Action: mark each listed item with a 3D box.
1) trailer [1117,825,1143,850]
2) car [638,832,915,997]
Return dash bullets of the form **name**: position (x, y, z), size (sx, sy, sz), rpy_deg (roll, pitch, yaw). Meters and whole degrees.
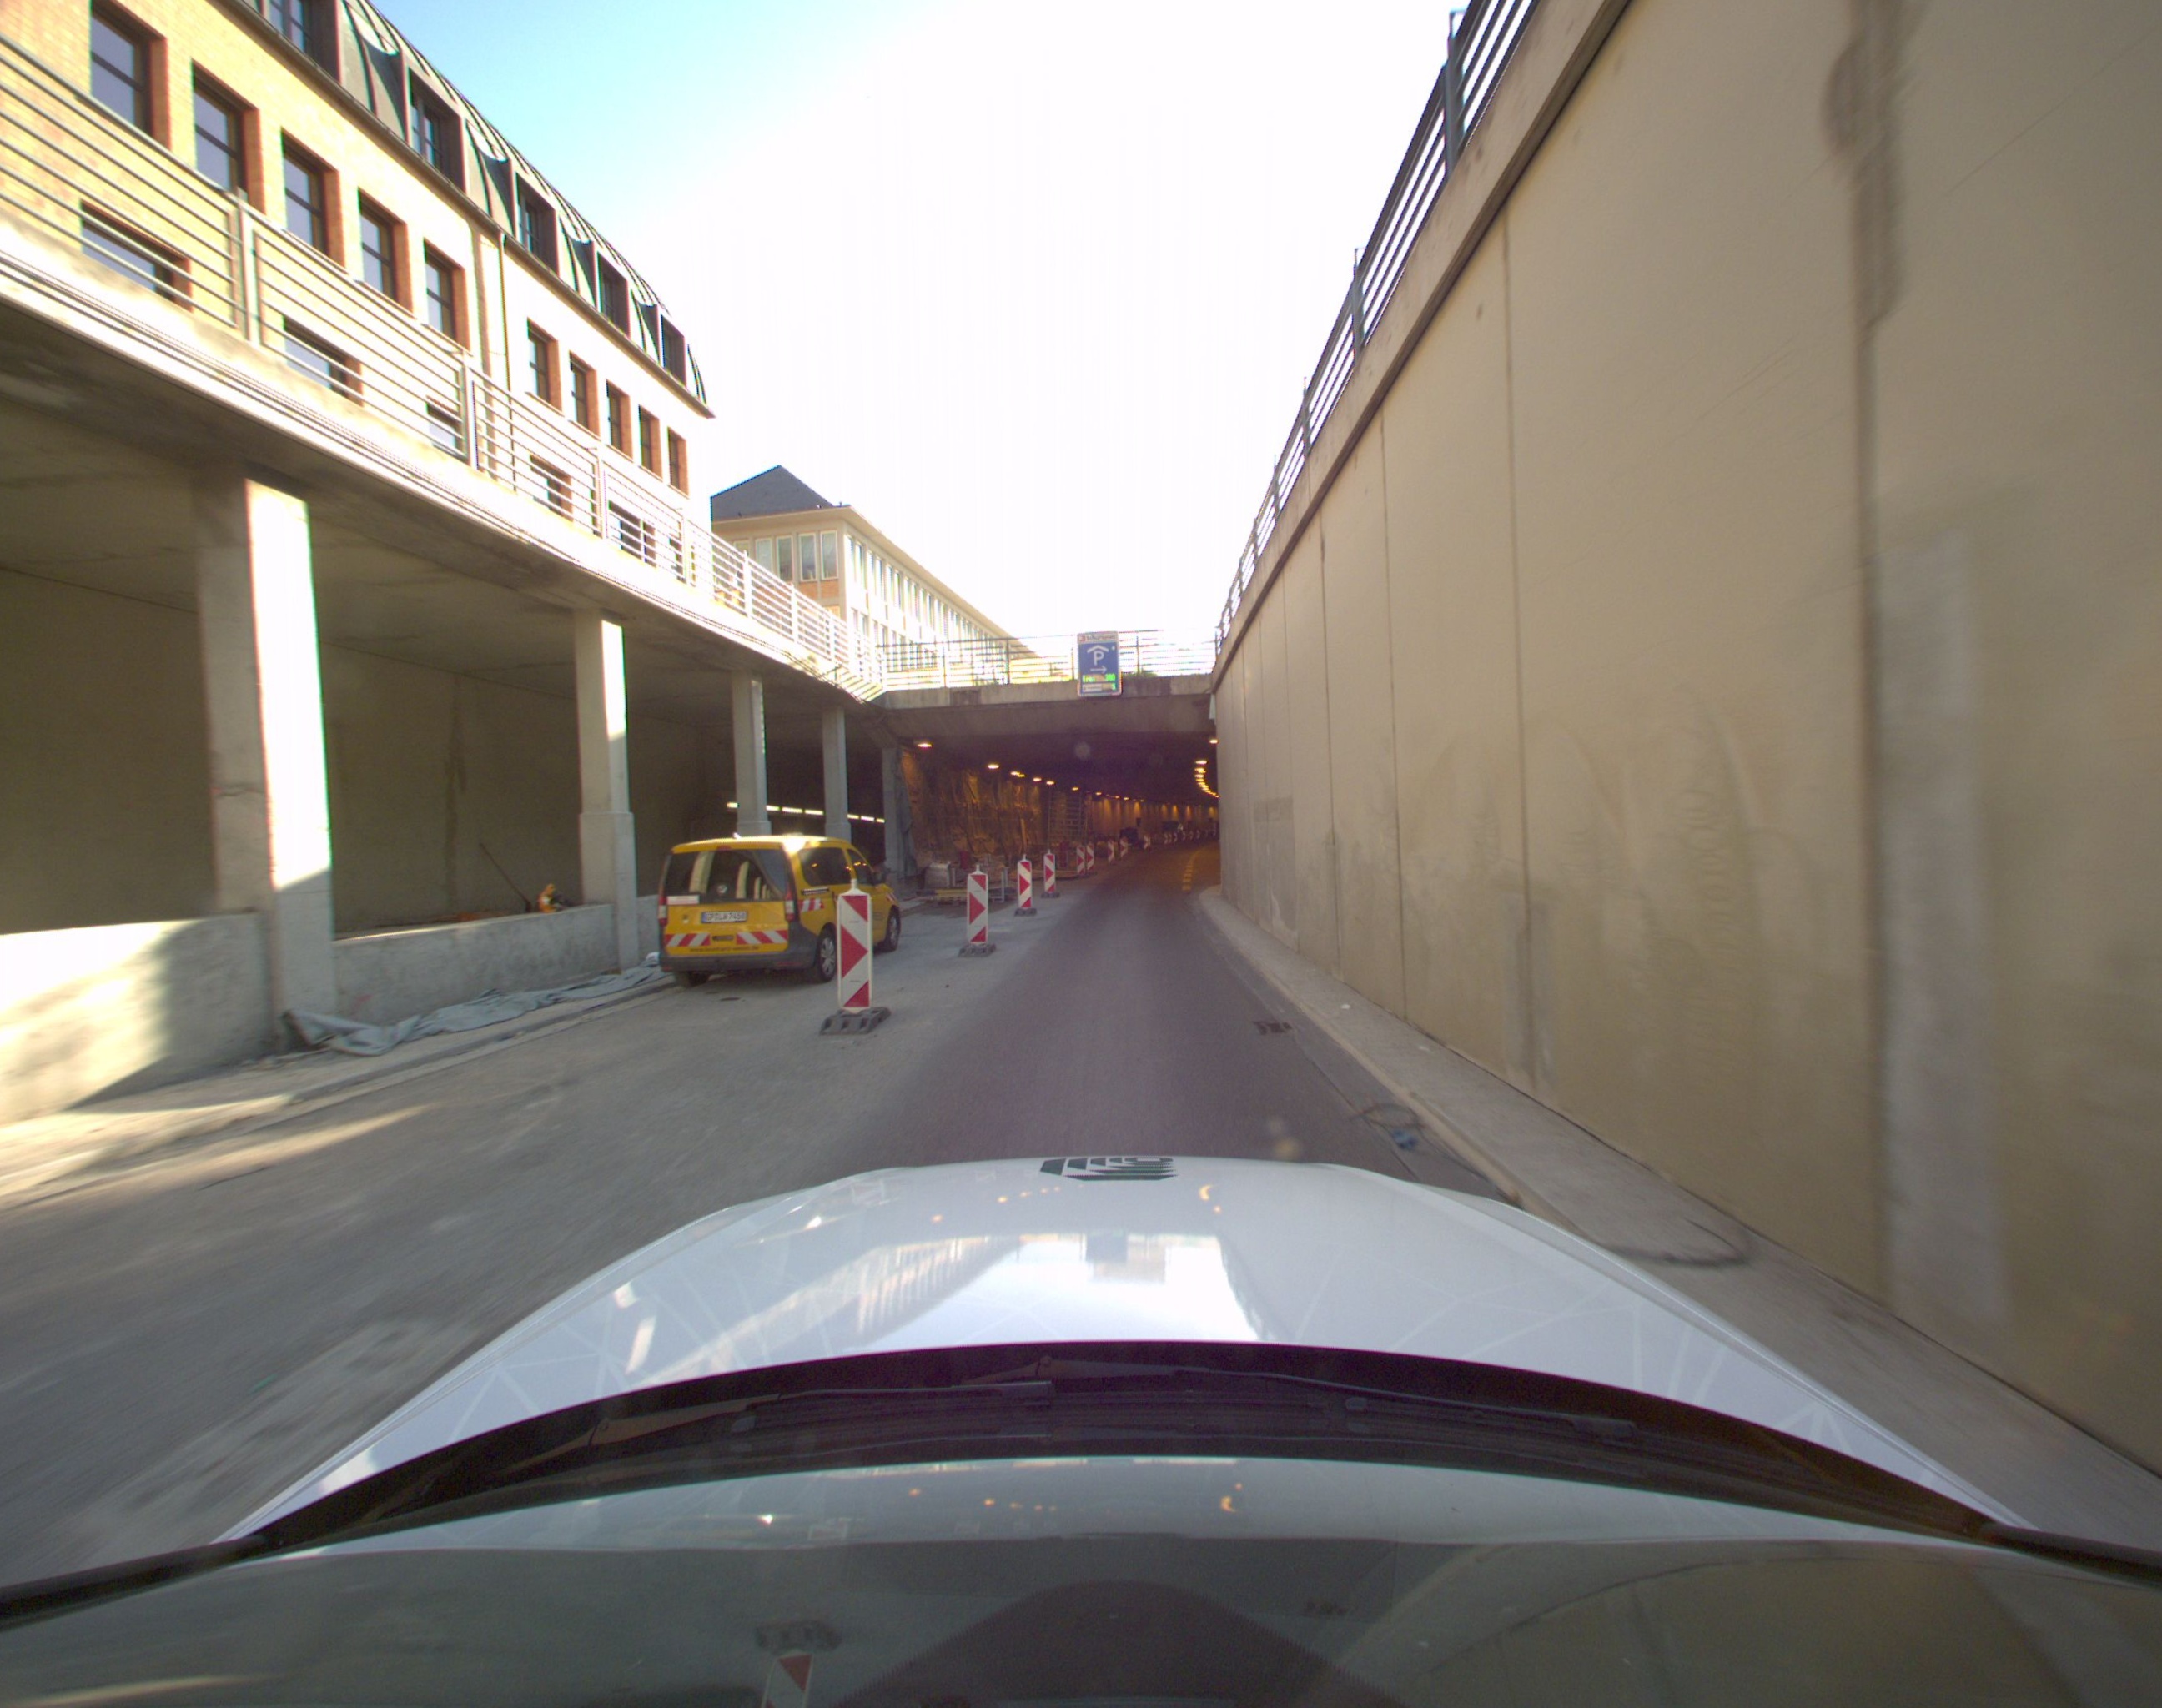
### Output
- **trailer**: position (3.741, -1.258, 61.470), size (1.571, 1.798, 2.948), rpy_deg (-1, 2, 10)
- **car**: position (-3.796, 0.627, 11.147), size (1.840, 1.775, 4.439), rpy_deg (-1, 1, 4)
